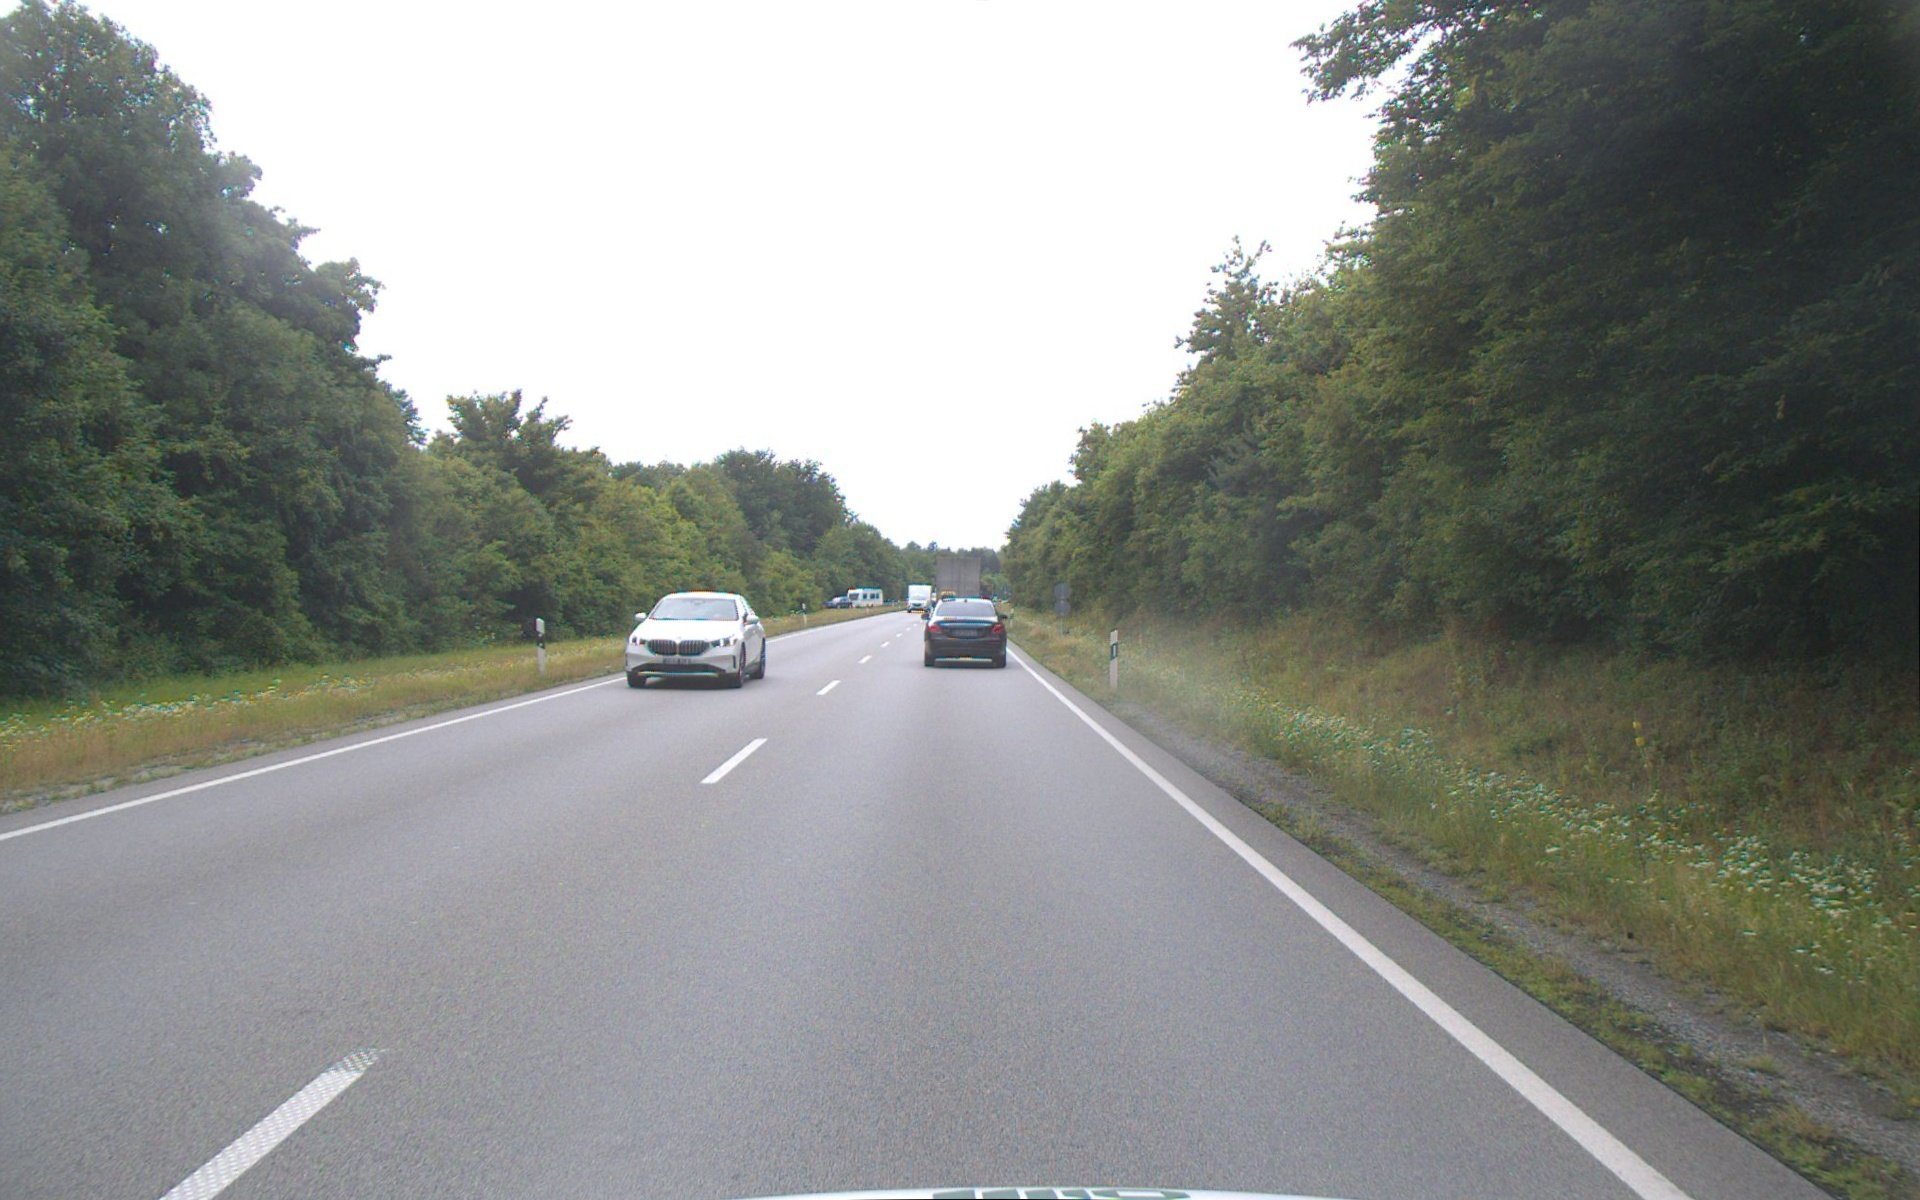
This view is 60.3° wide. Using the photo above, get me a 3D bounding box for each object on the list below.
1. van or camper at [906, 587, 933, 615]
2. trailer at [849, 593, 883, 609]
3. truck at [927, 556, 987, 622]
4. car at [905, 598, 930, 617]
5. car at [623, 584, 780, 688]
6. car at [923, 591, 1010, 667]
[{"bbox_3d":[-3.847,0.107,157.989,2.331,2.620,6.279,1,0,0],"label":"van or camper"},{"bbox_3d":[-12.738,0.167,224.501,1.958,2.049,5.108,1,0,33],"label":"trailer"},{"bbox_3d":[-0.082,-0.605,99.286,3.213,3.675,11.401,1,0,1],"label":"truck"},{"bbox_3d":[-3.901,0.678,152.233,2.232,1.631,4.691,1,0,0],"label":"car"},{"bbox_3d":[-4.354,0.576,28.715,1.924,1.601,5.450,1,0,-1],"label":"car"},{"bbox_3d":[0.091,0.628,37.110,1.755,1.579,3.998,1,0,-3],"label":"car"}]
